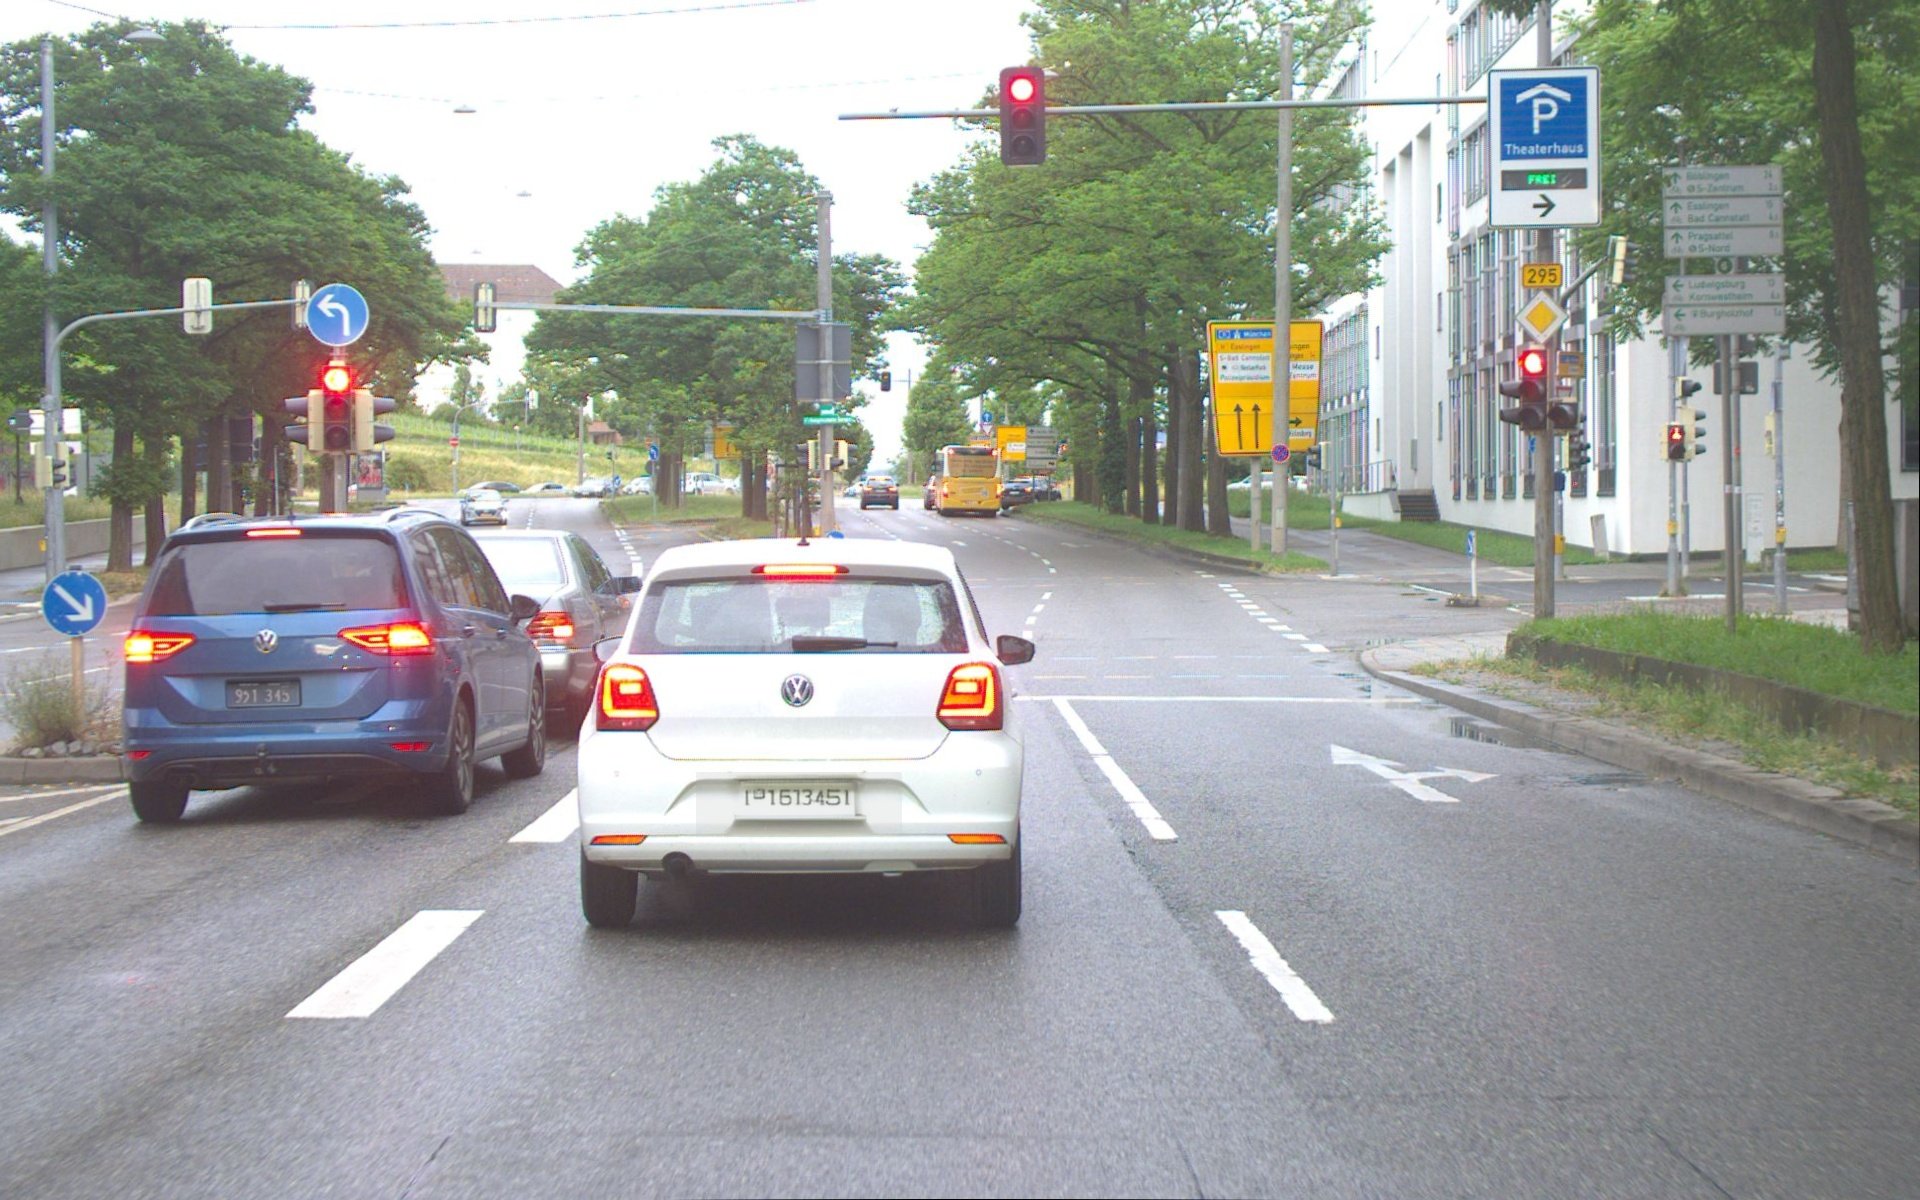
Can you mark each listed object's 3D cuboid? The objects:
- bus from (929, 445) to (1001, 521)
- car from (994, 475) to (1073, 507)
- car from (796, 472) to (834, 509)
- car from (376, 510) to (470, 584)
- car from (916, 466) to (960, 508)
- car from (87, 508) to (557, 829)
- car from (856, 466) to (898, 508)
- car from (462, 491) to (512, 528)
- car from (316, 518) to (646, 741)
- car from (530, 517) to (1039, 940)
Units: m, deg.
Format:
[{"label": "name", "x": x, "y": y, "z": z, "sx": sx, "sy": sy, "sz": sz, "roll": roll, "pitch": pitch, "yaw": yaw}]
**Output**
[{"label": "bus", "x": 0.164, "y": -5.268, "z": 153.456, "sx": 2.828, "sy": 3.255, "sz": 10.002, "roll": 0, "pitch": 2, "yaw": -2}, {"label": "car", "x": 3.579, "y": -5.272, "z": 166.393, "sx": 1.699, "sy": 1.510, "sz": 3.818, "roll": 1, "pitch": 2, "yaw": 43}, {"label": "car", "x": -7.125, "y": -5.372, "z": 168.360, "sx": 1.794, "sy": 1.735, "sz": 4.001, "roll": -1, "pitch": 2, "yaw": -3}, {"label": "car", "x": -11.893, "y": -1.197, "z": 76.343, "sx": 1.750, "sy": 1.515, "sz": 3.818, "roll": -2, "pitch": 2, "yaw": -5}, {"label": "car", "x": -1.086, "y": -5.488, "z": 167.194, "sx": 1.993, "sy": 2.007, "sz": 4.001, "roll": -1, "pitch": 1, "yaw": -2}, {"label": "car", "x": -3.477, "y": 0.298, "z": 19.510, "sx": 1.772, "sy": 1.591, "sz": 4.197, "roll": -1, "pitch": 1, "yaw": 1}, {"label": "car", "x": -4.041, "y": -5.472, "z": 166.713, "sx": 1.993, "sy": 2.007, "sz": 4.001, "roll": -1, "pitch": 1, "yaw": -2}, {"label": "car", "x": -19.842, "y": -3.812, "z": 144.370, "sx": 1.814, "sy": 1.406, "sz": 4.657, "roll": -2, "pitch": 2, "yaw": -5}, {"label": "car", "x": -3.503, "y": 0.157, "z": 25.854, "sx": 1.847, "sy": 1.505, "sz": 4.048, "roll": -1, "pitch": 1, "yaw": 1}, {"label": "car", "x": -0.654, "y": 0.407, "z": 14.150, "sx": 1.794, "sy": 1.497, "sz": 4.000, "roll": 0, "pitch": 1, "yaw": -1}]
